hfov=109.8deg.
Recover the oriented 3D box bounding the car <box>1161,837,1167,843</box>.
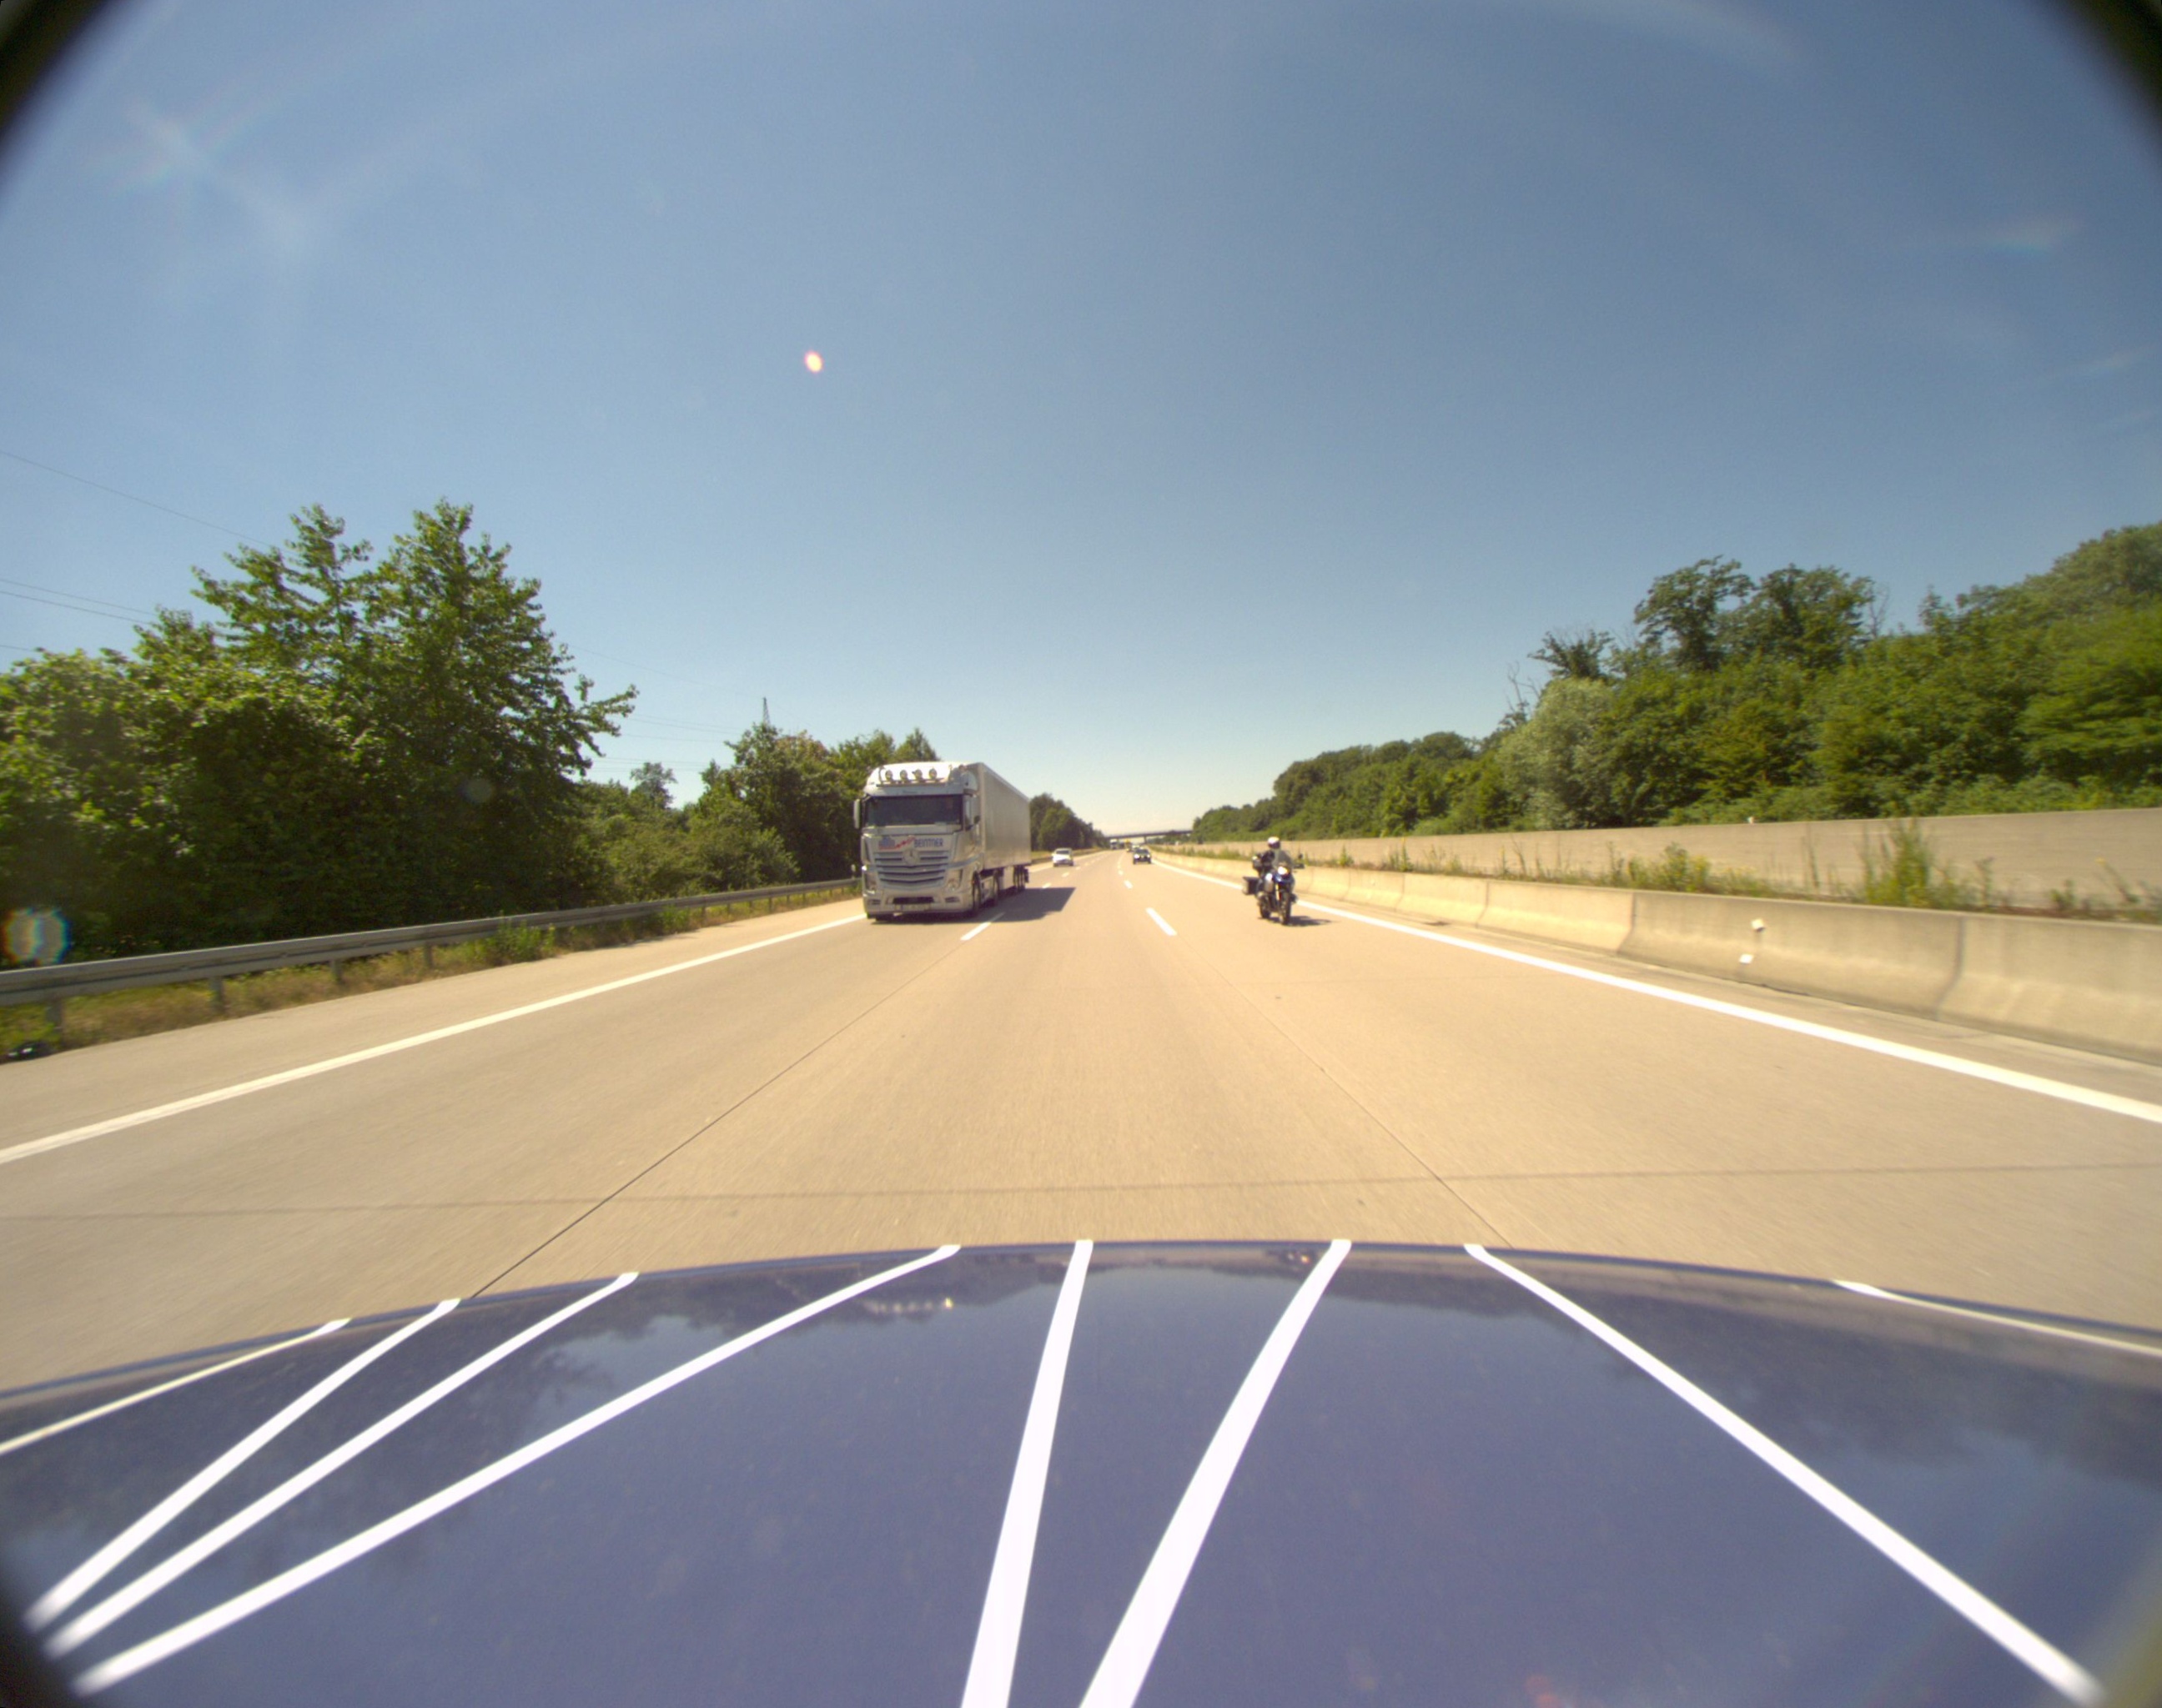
[{"bbox_3d":[27.956,-4.568,255.410,1.639,2.002,3.653,-2,1,3],"label":"car"}]

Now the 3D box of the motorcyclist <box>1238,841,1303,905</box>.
[{"bbox_3d":[3.790,0.369,15.264,1.027,1.202,0.911,-2,0,-3],"label":"motorcyclist"}]

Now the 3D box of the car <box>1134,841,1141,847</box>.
[{"bbox_3d":[15.919,-2.778,214.450,1.580,1.565,3.674,-2,1,-1],"label":"car"}]

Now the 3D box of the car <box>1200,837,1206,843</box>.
[{"bbox_3d":[33.277,-3.756,207.363,1.435,1.705,3.273,-2,1,3],"label":"car"}]

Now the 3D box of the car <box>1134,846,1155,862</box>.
[{"bbox_3d":[6.472,-0.031,78.044,1.998,1.518,4.001,-3,1,4],"label":"car"}]

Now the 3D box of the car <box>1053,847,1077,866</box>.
[{"bbox_3d":[-1.664,0.261,81.799,1.883,1.878,5.281,-5,0,4],"label":"car"}]

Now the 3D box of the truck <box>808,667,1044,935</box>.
[{"bbox_3d":[-3.952,-1.223,26.321,3.586,5.753,18.247,-5,0,1],"label":"truck"}]

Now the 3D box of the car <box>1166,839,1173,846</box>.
[{"bbox_3d":[25.080,-3.266,215.318,1.435,2.002,3.520,-2,1,3],"label":"car"}]

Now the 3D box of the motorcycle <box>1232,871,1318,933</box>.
[{"bbox_3d":[3.808,0.907,15.182,1.024,1.042,2.412,-2,0,-1],"label":"motorcycle"}]

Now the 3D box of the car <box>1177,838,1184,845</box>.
[{"bbox_3d":[29.340,-3.803,223.919,1.638,2.002,4.103,-2,1,3],"label":"car"}]

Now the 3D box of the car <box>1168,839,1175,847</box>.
[{"bbox_3d":[22.628,-2.705,189.952,1.435,2.002,4.787,-2,1,3],"label":"car"}]

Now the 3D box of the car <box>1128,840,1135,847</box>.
[{"bbox_3d":[11.734,-2.342,176.366,1.586,1.527,3.612,-5,0,4],"label":"car"}]
